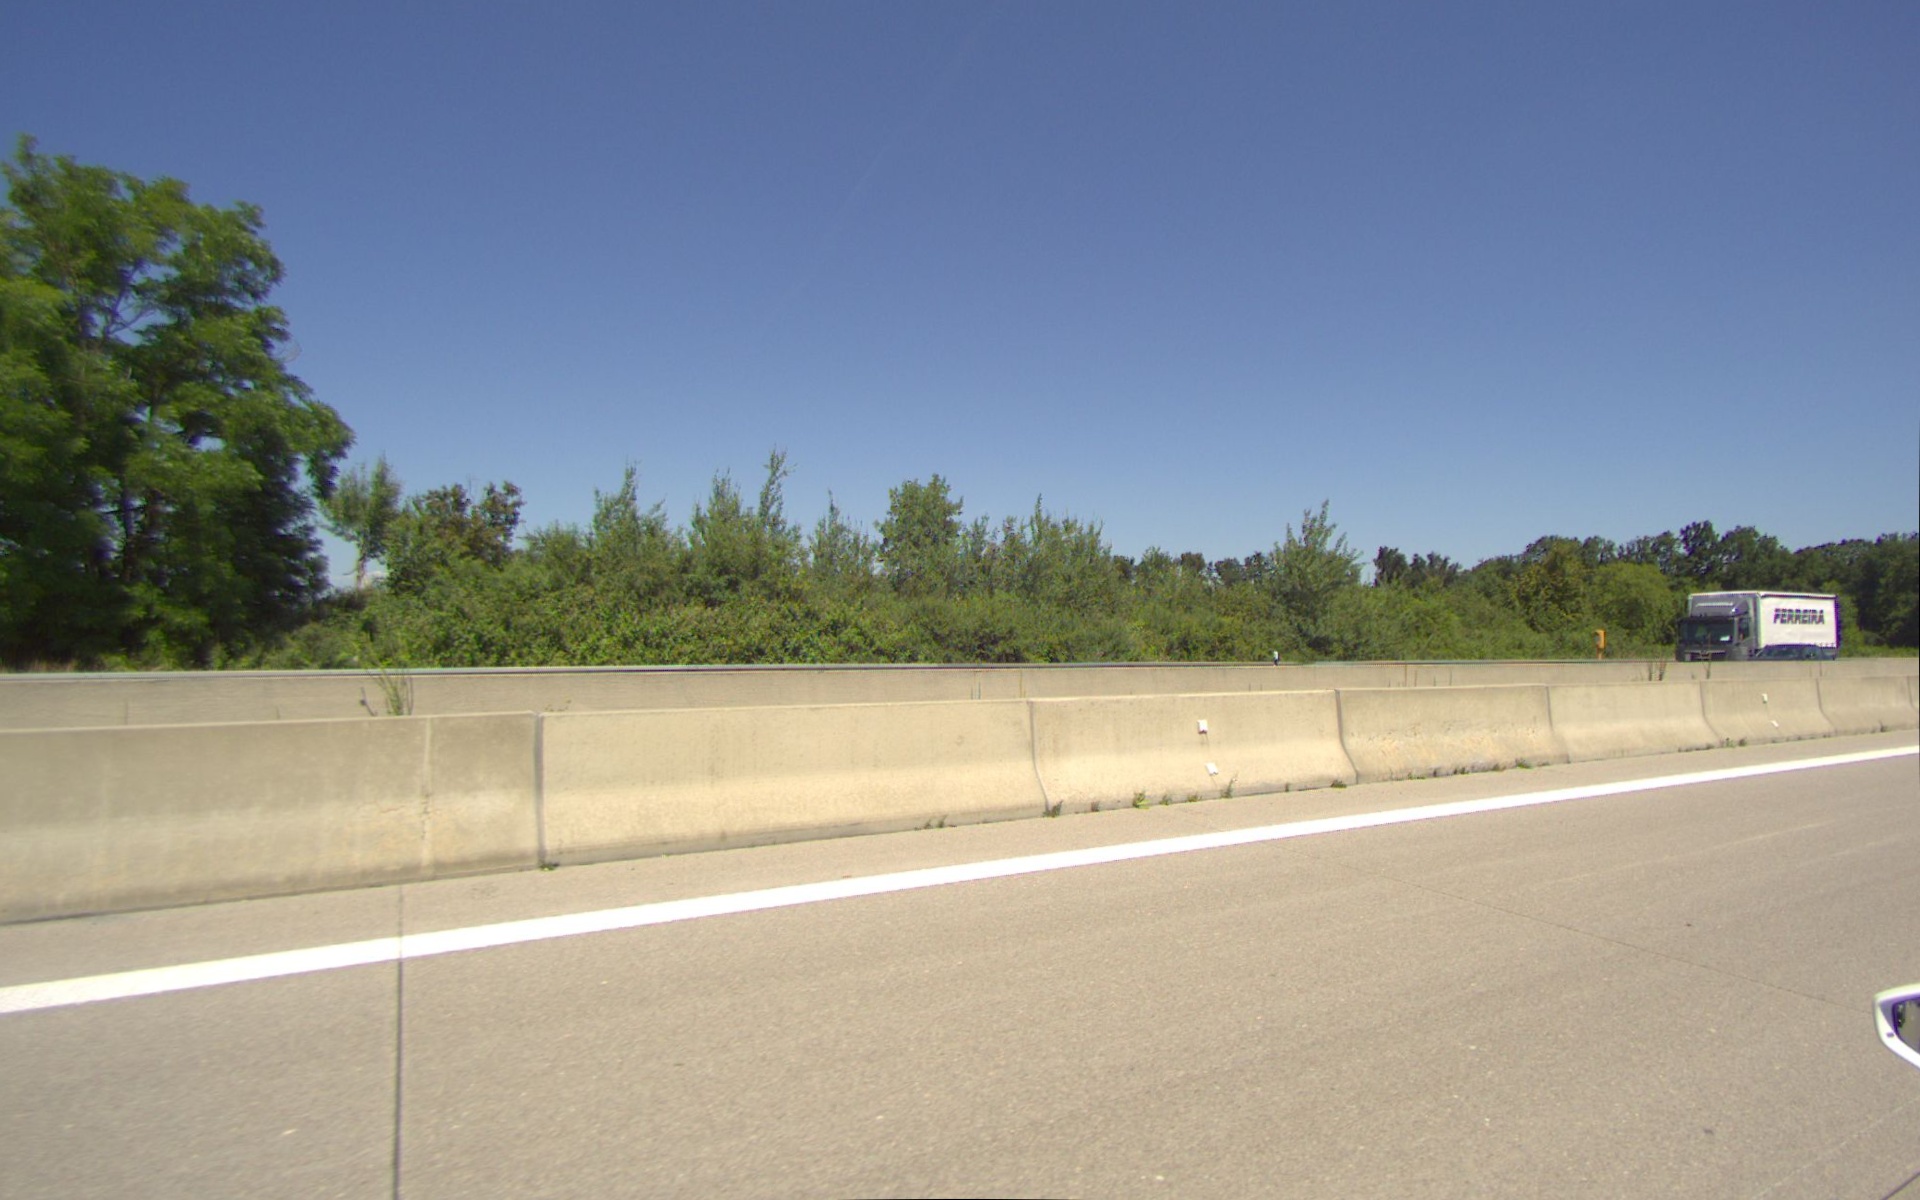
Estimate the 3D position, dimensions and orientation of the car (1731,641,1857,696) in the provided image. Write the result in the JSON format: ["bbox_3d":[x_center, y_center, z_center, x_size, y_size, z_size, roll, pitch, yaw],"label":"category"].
[{"bbox_3d":[30.035,2.409,36.152,4.659,1.781,1.984,1,0,-30],"label":"car"}]

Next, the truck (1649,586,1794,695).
[{"bbox_3d":[31.107,1.578,41.023,5.025,4.183,2.939,1,0,-30],"label":"truck"}]

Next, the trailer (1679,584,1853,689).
[{"bbox_3d":[34.636,1.499,43.094,8.383,4.160,2.939,1,0,-30],"label":"trailer"}]

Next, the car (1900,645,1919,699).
[{"bbox_3d":[35.062,2.517,34.985,5.096,1.781,1.984,1,0,-30],"label":"car"}]
